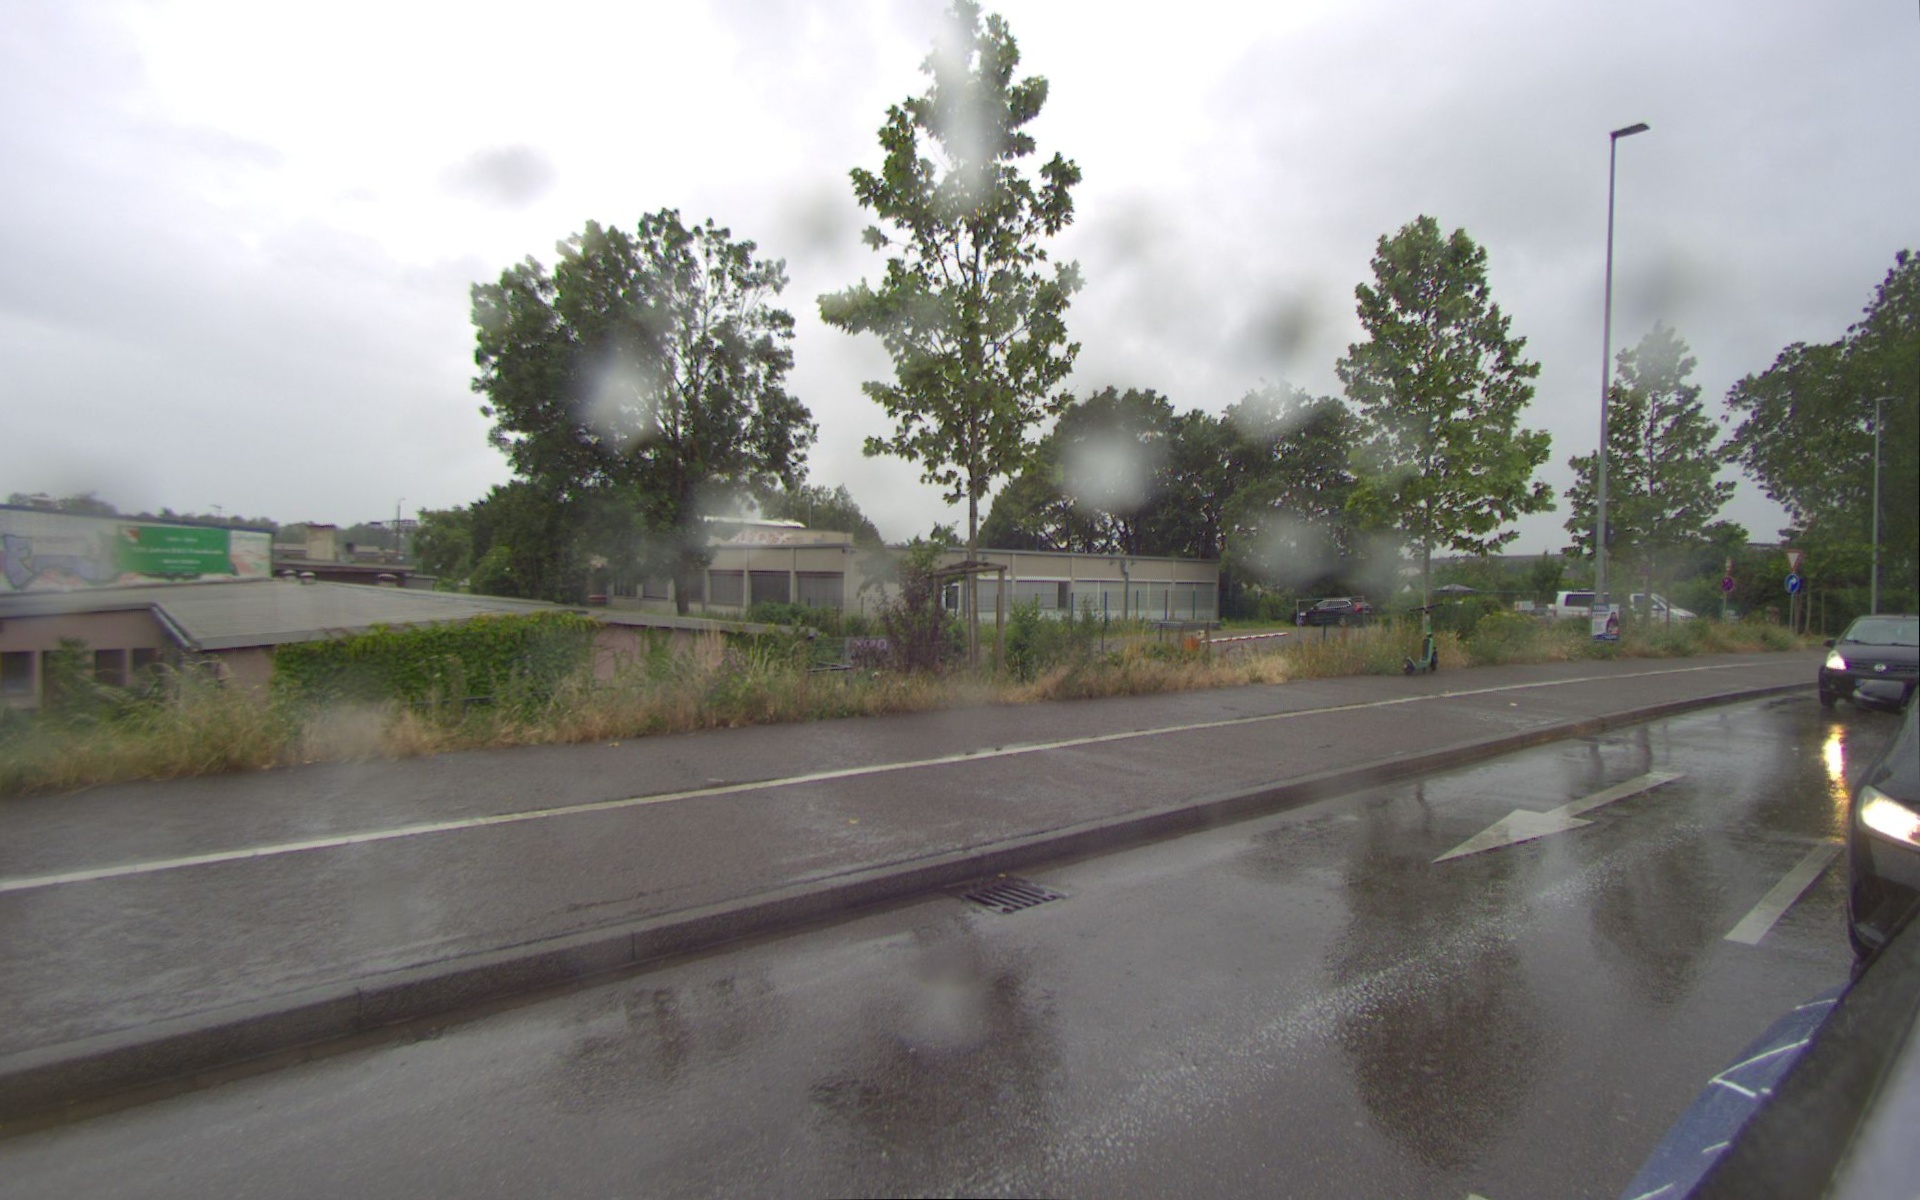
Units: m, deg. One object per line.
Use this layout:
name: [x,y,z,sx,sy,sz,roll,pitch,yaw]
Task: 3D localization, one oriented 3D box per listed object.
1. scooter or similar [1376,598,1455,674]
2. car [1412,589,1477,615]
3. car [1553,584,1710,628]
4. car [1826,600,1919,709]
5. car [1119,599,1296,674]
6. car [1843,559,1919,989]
scooter or similar: [7.674,0.585,17.013,1.877,1.214,0.367,0,0,-38]
car: [30.940,0.118,64.689,1.319,1.604,3.555,0,0,-35]
car: [28.100,0.248,42.512,1.972,1.747,5.168,0,0,-42]
car: [14.715,0.775,15.585,3.553,1.528,1.556,0,0,-40]
car: [4.693,0.643,19.496,1.319,1.304,3.246,0,0,-35]
car: [5.615,0.674,4.460,4.090,1.601,1.759,1,0,-36]
